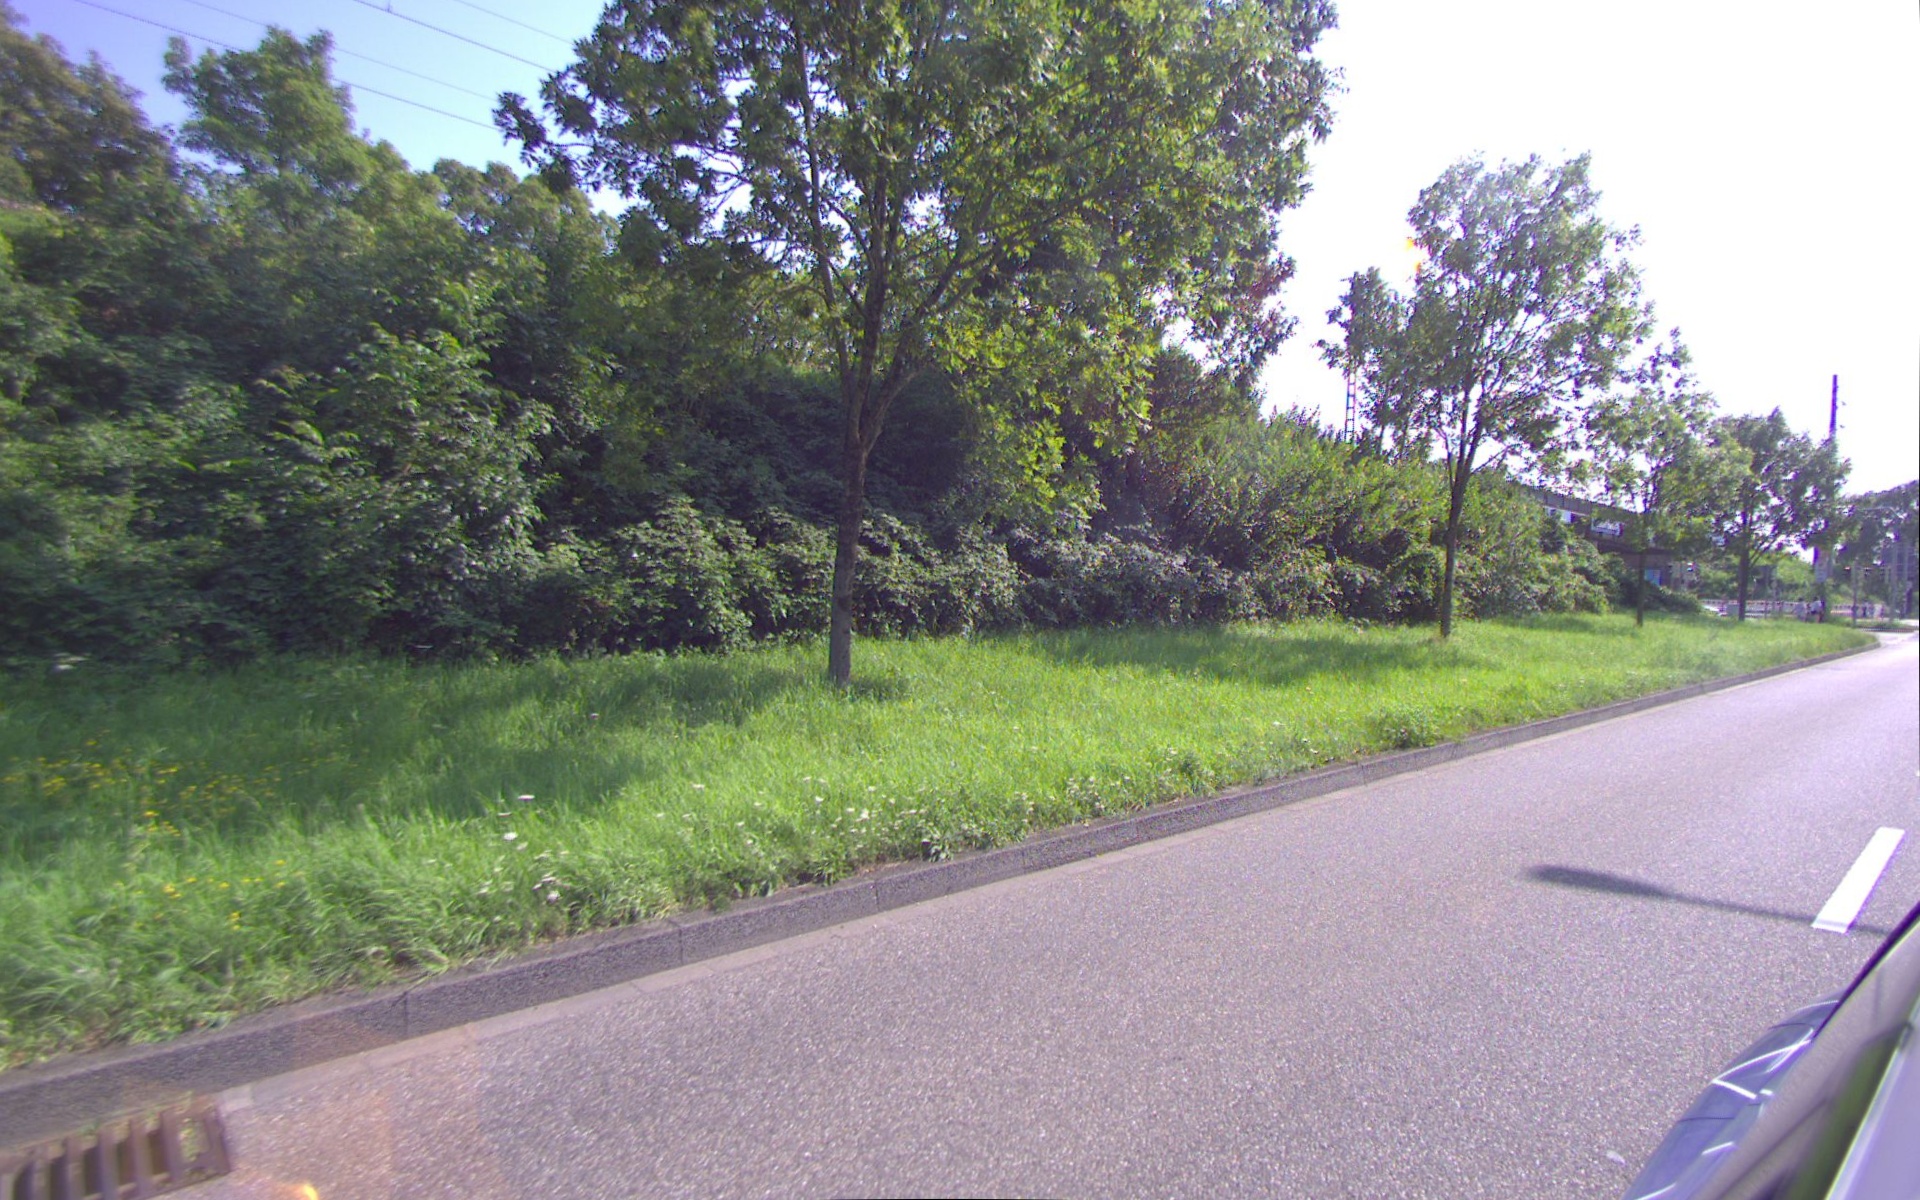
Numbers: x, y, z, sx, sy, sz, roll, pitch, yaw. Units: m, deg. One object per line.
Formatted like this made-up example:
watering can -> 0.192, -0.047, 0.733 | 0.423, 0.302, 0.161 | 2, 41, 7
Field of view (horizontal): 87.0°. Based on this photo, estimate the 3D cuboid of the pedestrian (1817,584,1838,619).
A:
pedestrian -> 42.580, 0.081, 49.660 | 0.482, 1.703, 0.572 | 1, 1, -10

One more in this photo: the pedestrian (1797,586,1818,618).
pedestrian -> 42.214, 0.079, 50.394 | 0.562, 1.586, 0.535 | 1, 1, 7

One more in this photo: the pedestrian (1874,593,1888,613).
pedestrian -> 72.622, 0.249, 79.828 | 0.624, 1.594, 0.489 | 1, 1, 6
